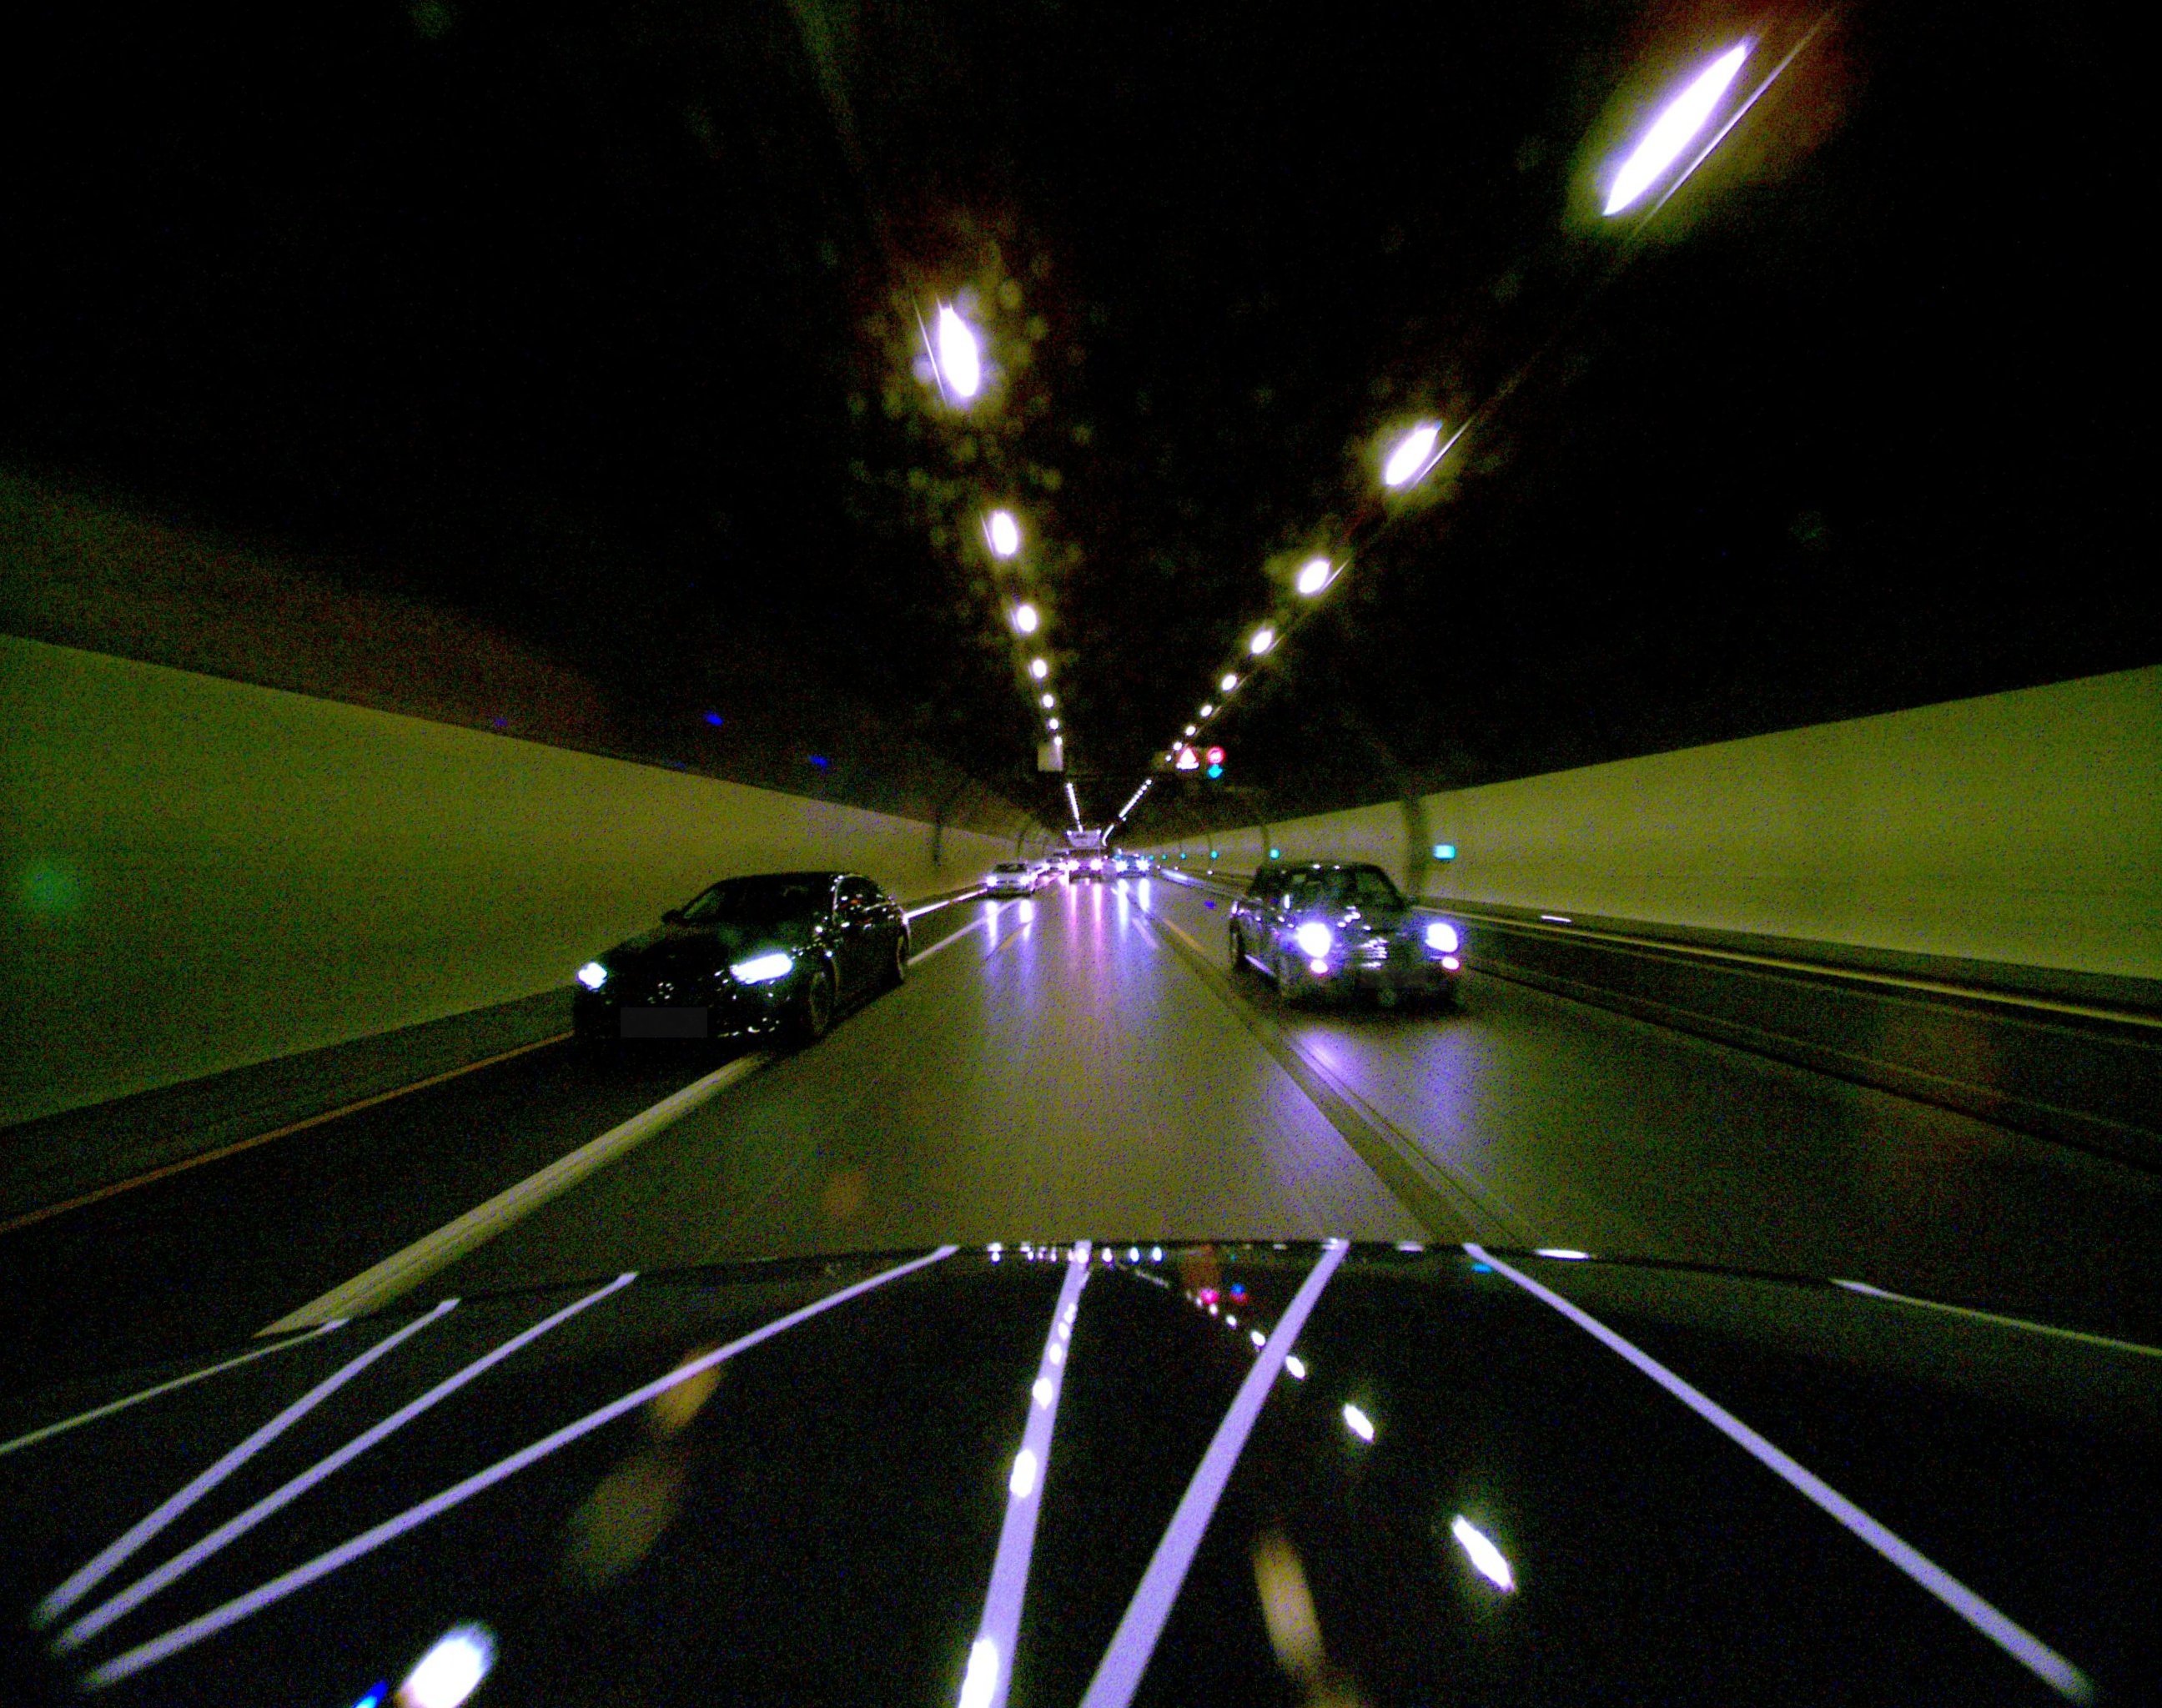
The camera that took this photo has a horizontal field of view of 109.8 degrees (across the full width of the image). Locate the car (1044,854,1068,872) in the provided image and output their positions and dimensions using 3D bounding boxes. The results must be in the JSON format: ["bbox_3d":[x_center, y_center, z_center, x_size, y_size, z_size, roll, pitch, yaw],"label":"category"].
[{"bbox_3d":[-2.195,0.770,68.259,1.958,1.527,4.758,0,1,0],"label":"car"}]

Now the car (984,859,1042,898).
[{"bbox_3d":[-2.753,0.978,31.653,1.801,1.452,4.035,-1,0,3],"label":"car"}]

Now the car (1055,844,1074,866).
[{"bbox_3d":[-2.054,0.105,94.598,2.124,2.629,6.229,-1,1,1],"label":"car"}]

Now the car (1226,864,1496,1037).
[{"bbox_3d":[2.783,0.867,8.425,1.657,1.395,3.657,-2,0,1],"label":"car"}]

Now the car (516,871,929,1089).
[{"bbox_3d":[-3.147,0.986,8.086,1.930,1.464,4.954,0,0,1],"label":"car"}]

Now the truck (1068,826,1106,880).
[{"bbox_3d":[0.409,-0.085,48.836,2.262,3.238,7.383,0,0,1],"label":"truck"}]

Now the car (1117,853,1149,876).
[{"bbox_3d":[3.646,0.714,54.456,1.958,1.527,4.758,-2,1,0],"label":"car"}]
